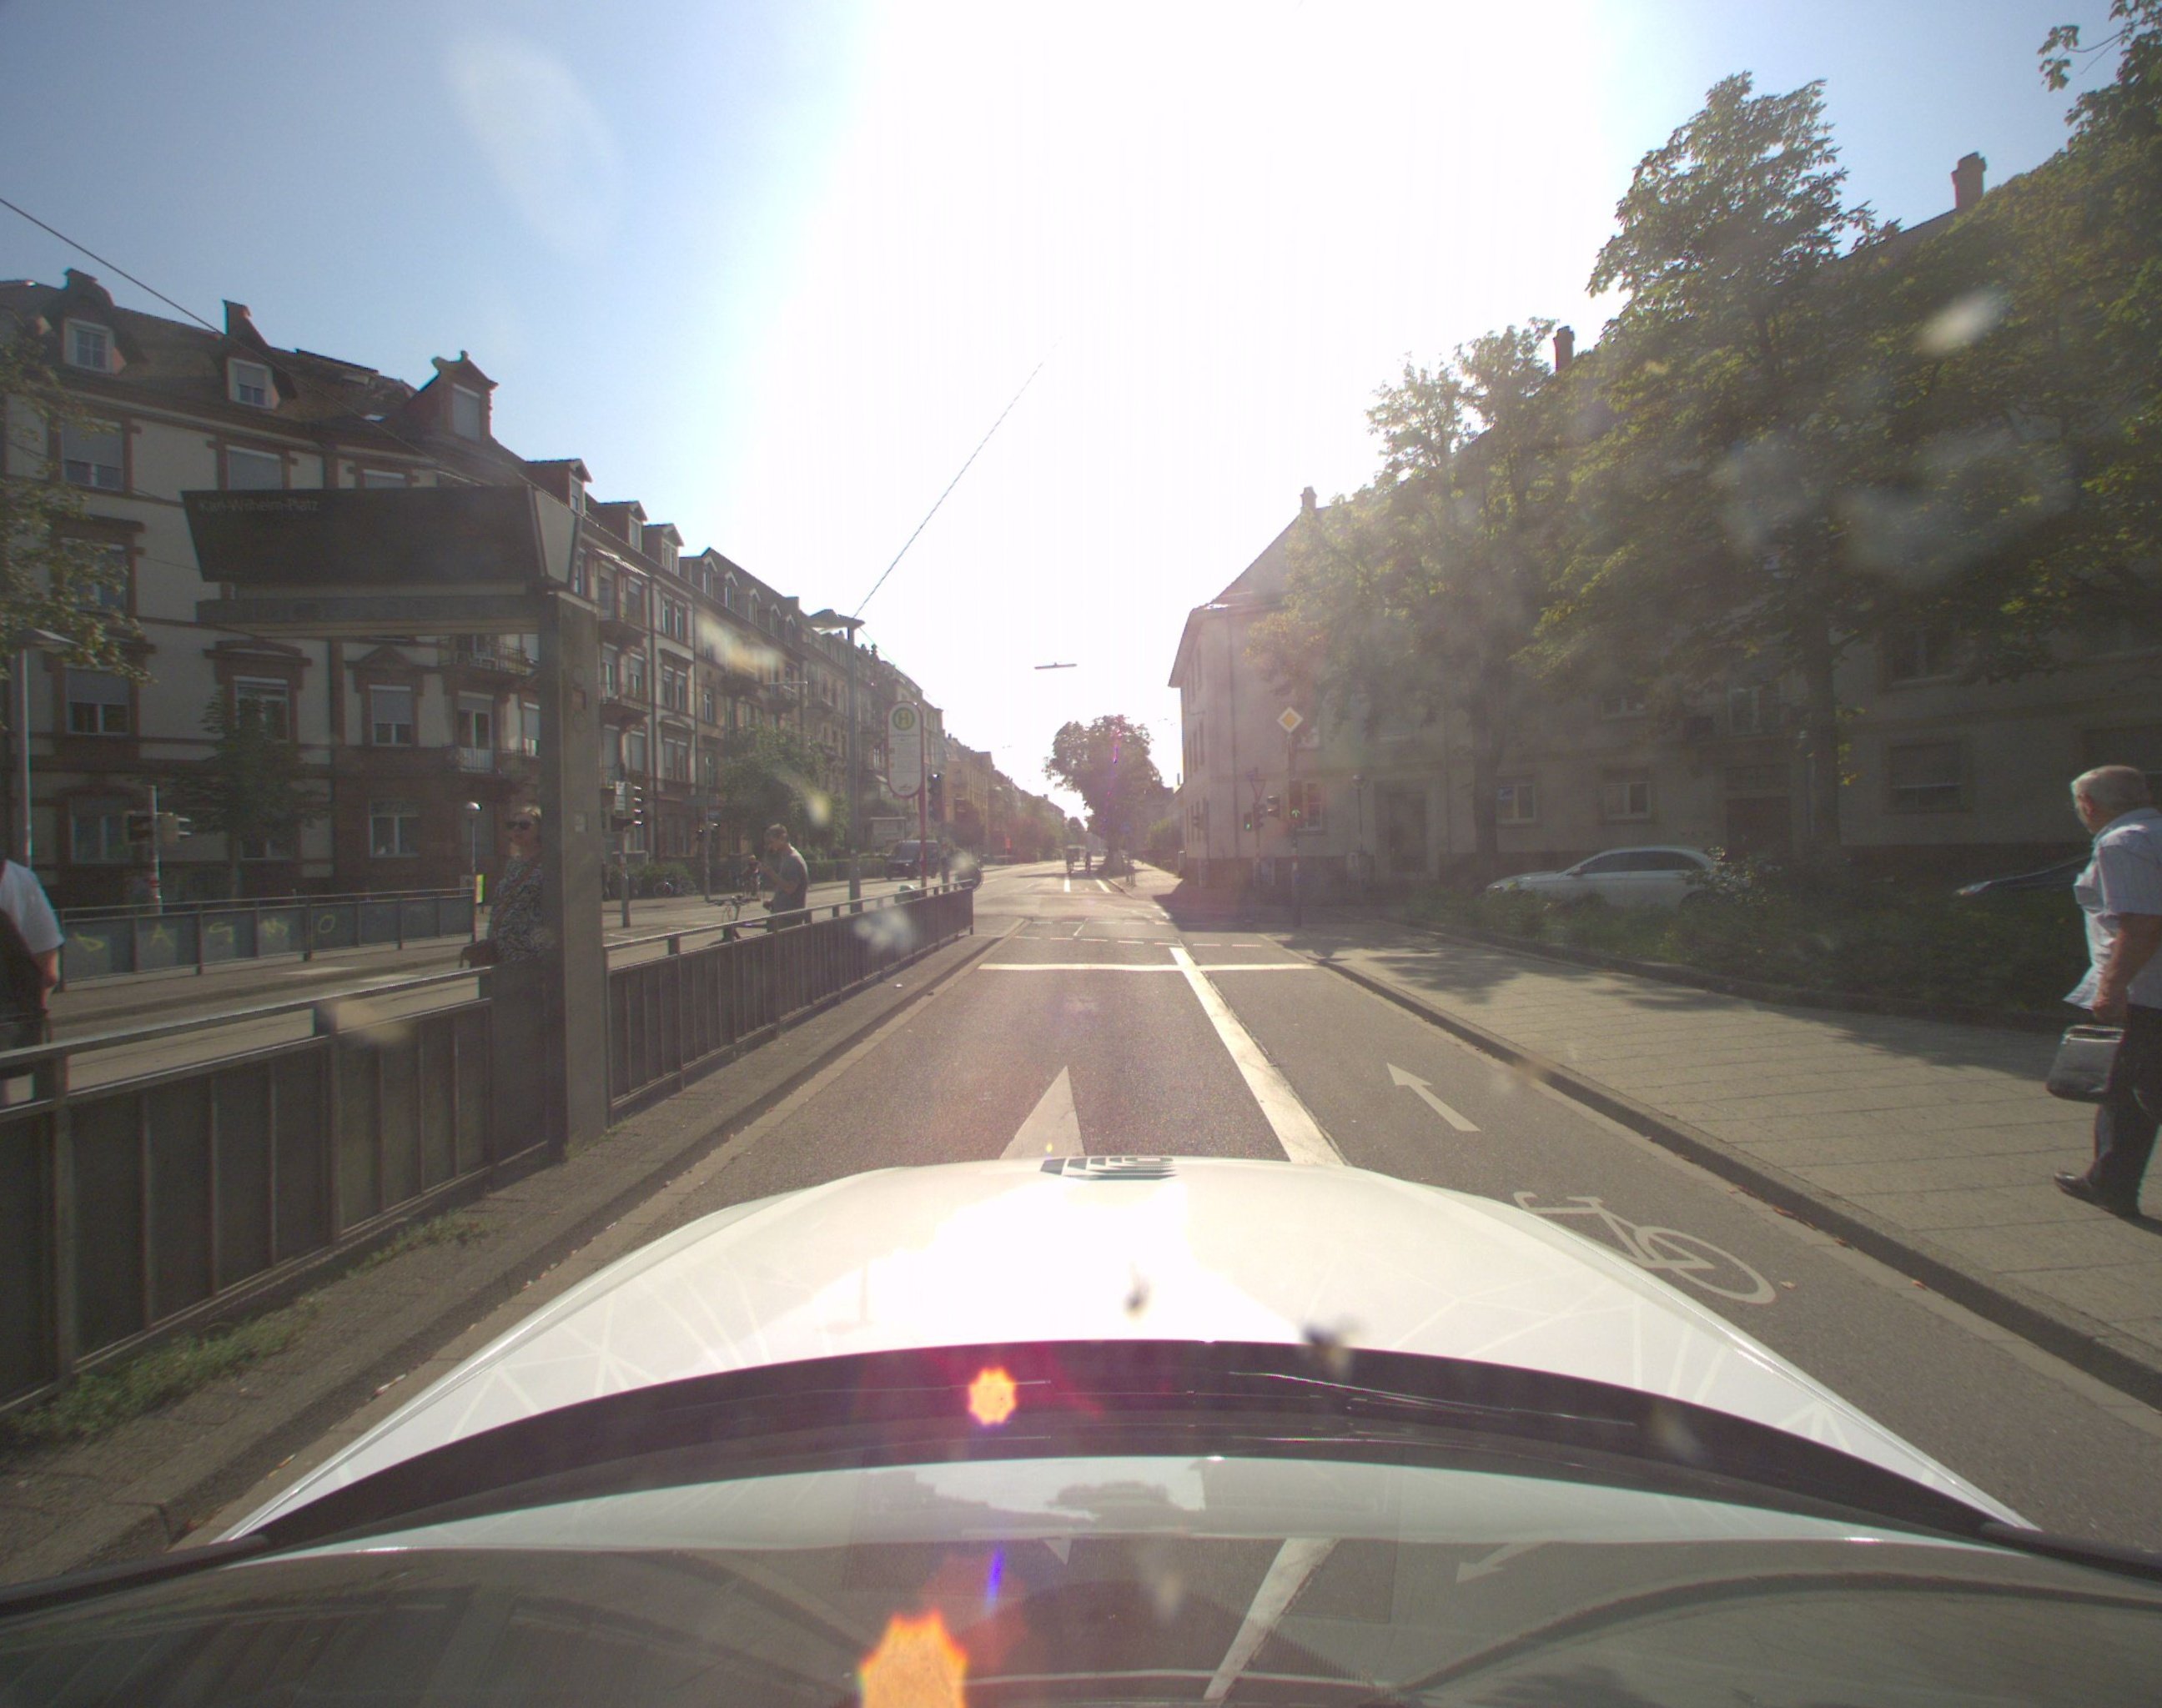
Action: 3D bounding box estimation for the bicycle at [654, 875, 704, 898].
[{"bbox_3d":[-16.944,1.370,34.345,0.521,0.860,1.839,-1,0,41],"label":"bicycle"}]

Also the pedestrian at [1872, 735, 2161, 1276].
[{"bbox_3d":[3.940,0.448,2.955,1.073,1.724,0.970,-5,0,1],"label":"pedestrian"}]

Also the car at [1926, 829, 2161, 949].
[{"bbox_3d":[14.197,0.422,10.806,1.758,1.451,3.850,-3,1,-32],"label":"car"}]

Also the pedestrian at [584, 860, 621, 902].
[{"bbox_3d":[-18.271,1.026,31.104,0.831,1.571,0.952,-2,0,36],"label":"pedestrian"}]

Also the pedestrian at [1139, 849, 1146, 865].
[{"bbox_3d":[6.856,0.298,90.640,0.748,1.749,0.880,-1,0,9],"label":"pedestrian"}]

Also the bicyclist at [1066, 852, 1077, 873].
[{"bbox_3d":[-0.631,0.563,53.836,0.624,1.401,0.930,0,-1,2],"label":"bicyclist"}]

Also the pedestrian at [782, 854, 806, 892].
[{"bbox_3d":[-13.933,0.913,39.519,0.725,1.806,1.093,-1,0,1],"label":"pedestrian"}]

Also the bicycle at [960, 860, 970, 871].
[{"bbox_3d":[-12.014,1.216,84.256,0.604,1.058,1.841,2,0,4],"label":"bicycle"}]

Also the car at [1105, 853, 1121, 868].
[{"bbox_3d":[3.426,0.660,86.641,1.638,1.448,4.249,-3,-1,3],"label":"car"}]

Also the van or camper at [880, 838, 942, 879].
[{"bbox_3d":[-11.630,0.315,56.302,2.038,2.644,6.105,-2,-1,9],"label":"van or camper"}]

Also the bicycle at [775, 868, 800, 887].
[{"bbox_3d":[-15.324,1.215,42.614,0.523,0.927,1.705,-1,0,6],"label":"bicycle"}]

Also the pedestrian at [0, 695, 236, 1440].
[{"bbox_3d":[-2.929,0.521,2.145,0.601,1.806,0.730,-1,0,1],"label":"pedestrian"}]

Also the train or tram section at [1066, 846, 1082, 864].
[{"bbox_3d":[-1.367,0.218,172.174,2.724,3.505,15.440,-1,0,2],"label":"train or tram section"}]

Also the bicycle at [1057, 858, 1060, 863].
[{"bbox_3d":[-5.835,1.621,213.516,0.558,1.221,2.116,-2,0,5],"label":"bicycle"}]

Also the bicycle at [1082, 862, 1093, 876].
[{"bbox_3d":[0.448,0.956,53.079,0.652,0.909,1.776,0,0,2],"label":"bicycle"}]

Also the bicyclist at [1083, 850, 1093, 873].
[{"bbox_3d":[0.458,0.506,53.068,0.652,1.474,0.909,0,-1,2],"label":"bicyclist"}]

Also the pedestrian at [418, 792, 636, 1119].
[{"bbox_3d":[-3.201,0.554,4.769,0.765,1.760,0.681,-1,0,1],"label":"pedestrian"}]

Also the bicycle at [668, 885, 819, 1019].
[{"bbox_3d":[-3.261,0.902,8.050,0.469,1.104,1.742,-2,0,11],"label":"bicycle"}]

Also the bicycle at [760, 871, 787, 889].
[{"bbox_3d":[-15.432,1.291,40.921,0.523,0.860,1.705,-1,0,6],"label":"bicycle"}]

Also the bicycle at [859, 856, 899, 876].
[{"bbox_3d":[-15.668,0.934,63.368,2.869,1.455,0.996,-1,0,-4],"label":"bicycle"}]

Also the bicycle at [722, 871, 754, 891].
[{"bbox_3d":[-15.989,1.249,38.027,0.523,0.860,1.831,-1,0,6],"label":"bicycle"}]

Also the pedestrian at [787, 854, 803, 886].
[{"bbox_3d":[-15.142,0.823,43.160,0.636,1.678,0.632,-2,0,-10],"label":"pedestrian"}]

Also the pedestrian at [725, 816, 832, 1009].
[{"bbox_3d":[-2.911,0.539,7.918,0.687,1.766,0.796,-1,0,1],"label":"pedestrian"}]

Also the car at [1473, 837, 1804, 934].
[{"bbox_3d":[10.334,0.557,15.384,4.891,1.469,1.888,-2,2,43],"label":"car"}]

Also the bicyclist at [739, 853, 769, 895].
[{"bbox_3d":[-12.860,0.777,32.064,0.670,1.614,1.046,-1,0,5],"label":"bicyclist"}]

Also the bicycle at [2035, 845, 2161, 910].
[{"bbox_3d":[18.214,0.394,14.292,0.610,1.058,1.822,-1,2,-29],"label":"bicycle"}]

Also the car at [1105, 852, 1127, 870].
[{"bbox_3d":[3.420,0.651,78.740,1.636,1.540,3.851,-3,-1,8],"label":"car"}]

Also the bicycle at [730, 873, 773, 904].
[{"bbox_3d":[-12.868,1.321,31.850,0.681,1.103,2.072,-1,0,5],"label":"bicycle"}]

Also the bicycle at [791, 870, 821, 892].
[{"bbox_3d":[-13.415,1.312,39.821,0.616,1.007,2.152,-2,0,2],"label":"bicycle"}]

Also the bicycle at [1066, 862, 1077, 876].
[{"bbox_3d":[-0.641,0.956,53.823,0.624,0.909,1.526,0,0,2],"label":"bicycle"}]

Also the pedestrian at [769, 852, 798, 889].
[{"bbox_3d":[-14.825,0.809,40.592,0.900,1.766,1.187,-1,0,6],"label":"pedestrian"}]

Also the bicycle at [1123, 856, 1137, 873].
[{"bbox_3d":[3.305,0.705,54.973,0.769,1.104,2.333,-2,0,0],"label":"bicycle"}]

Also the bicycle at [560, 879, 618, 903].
[{"bbox_3d":[-19.069,1.424,31.609,0.521,0.860,1.839,-1,0,41],"label":"bicycle"}]
